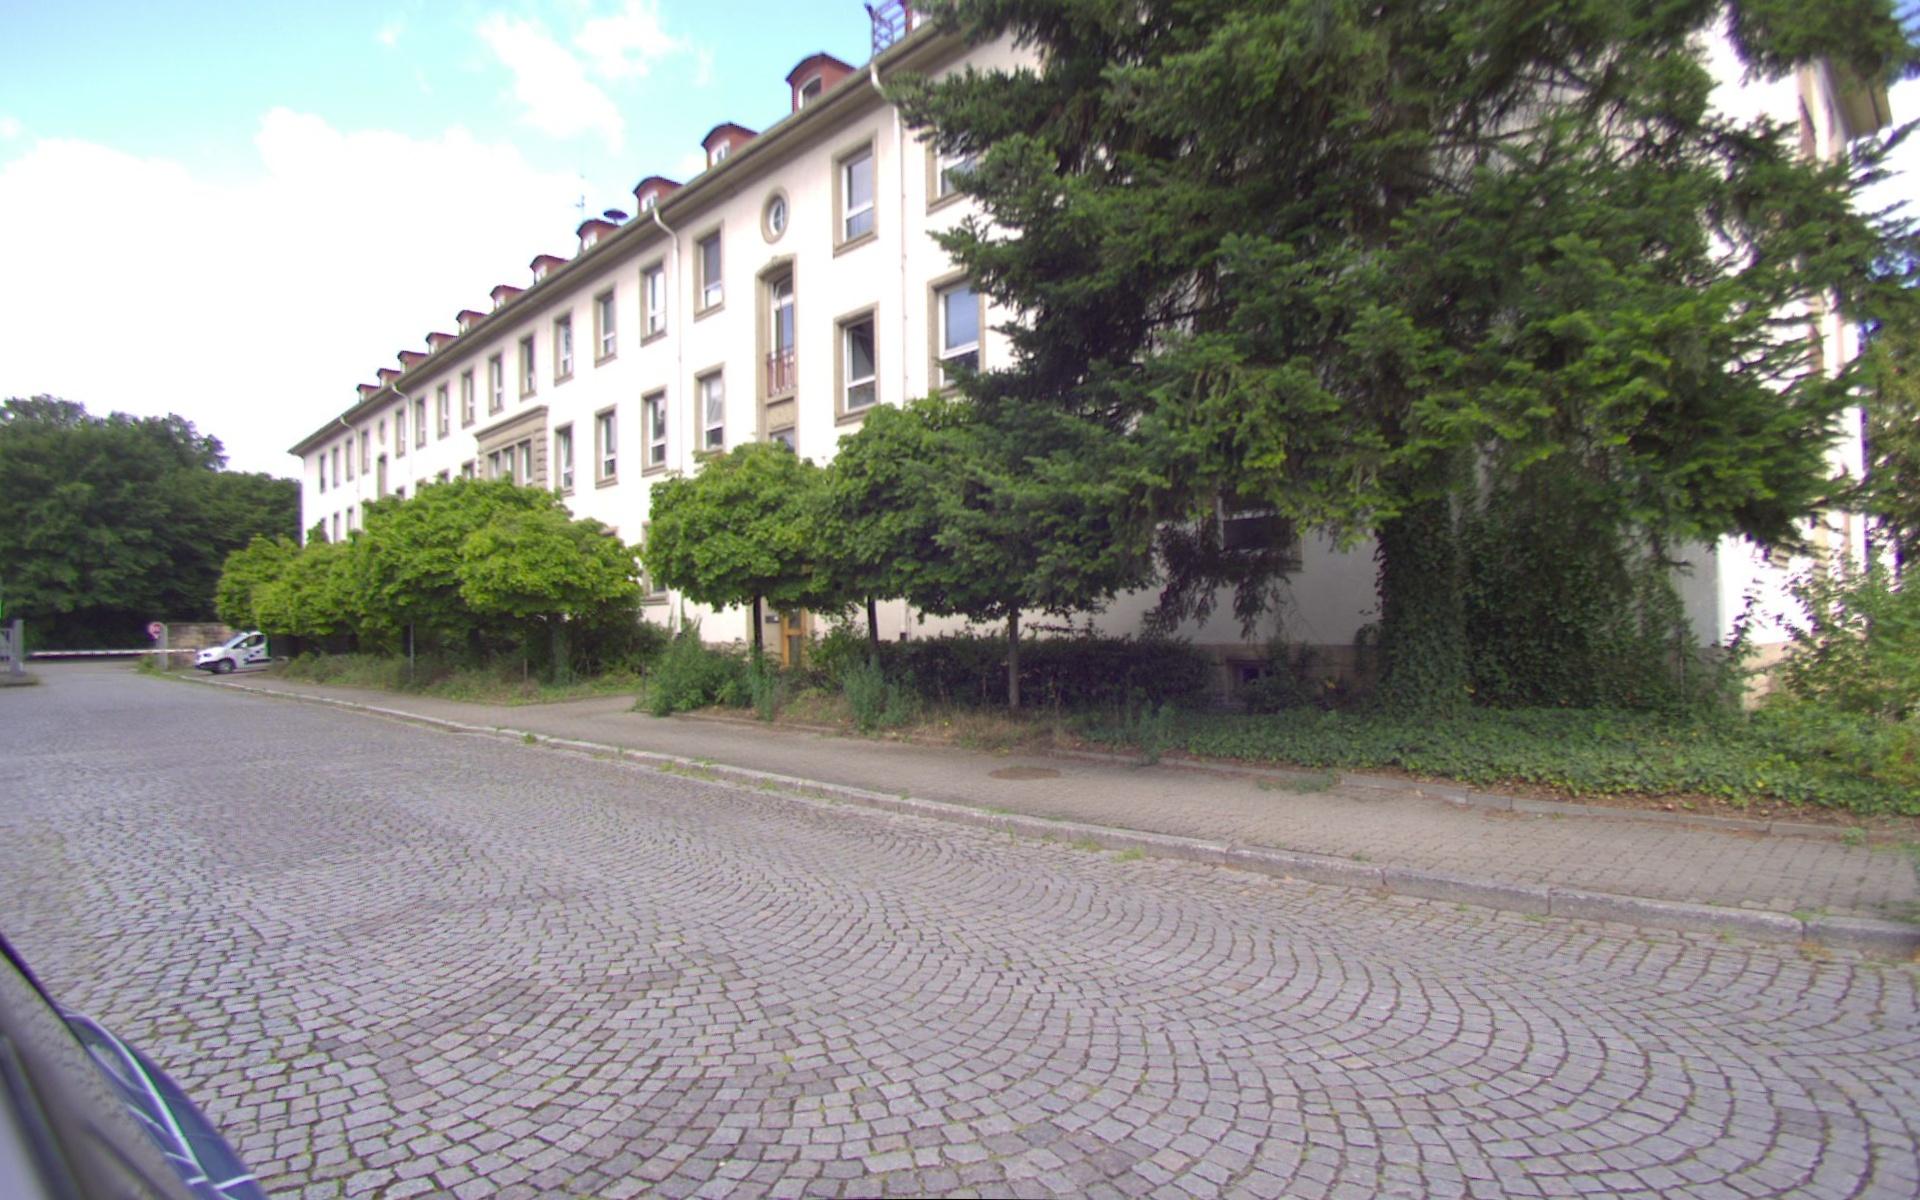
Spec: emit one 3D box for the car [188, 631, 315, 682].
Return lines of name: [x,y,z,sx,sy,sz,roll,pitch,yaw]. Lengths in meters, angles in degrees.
car: [-31.353,2.459,44.838,1.820,1.819,4.255,-2,2,43]
